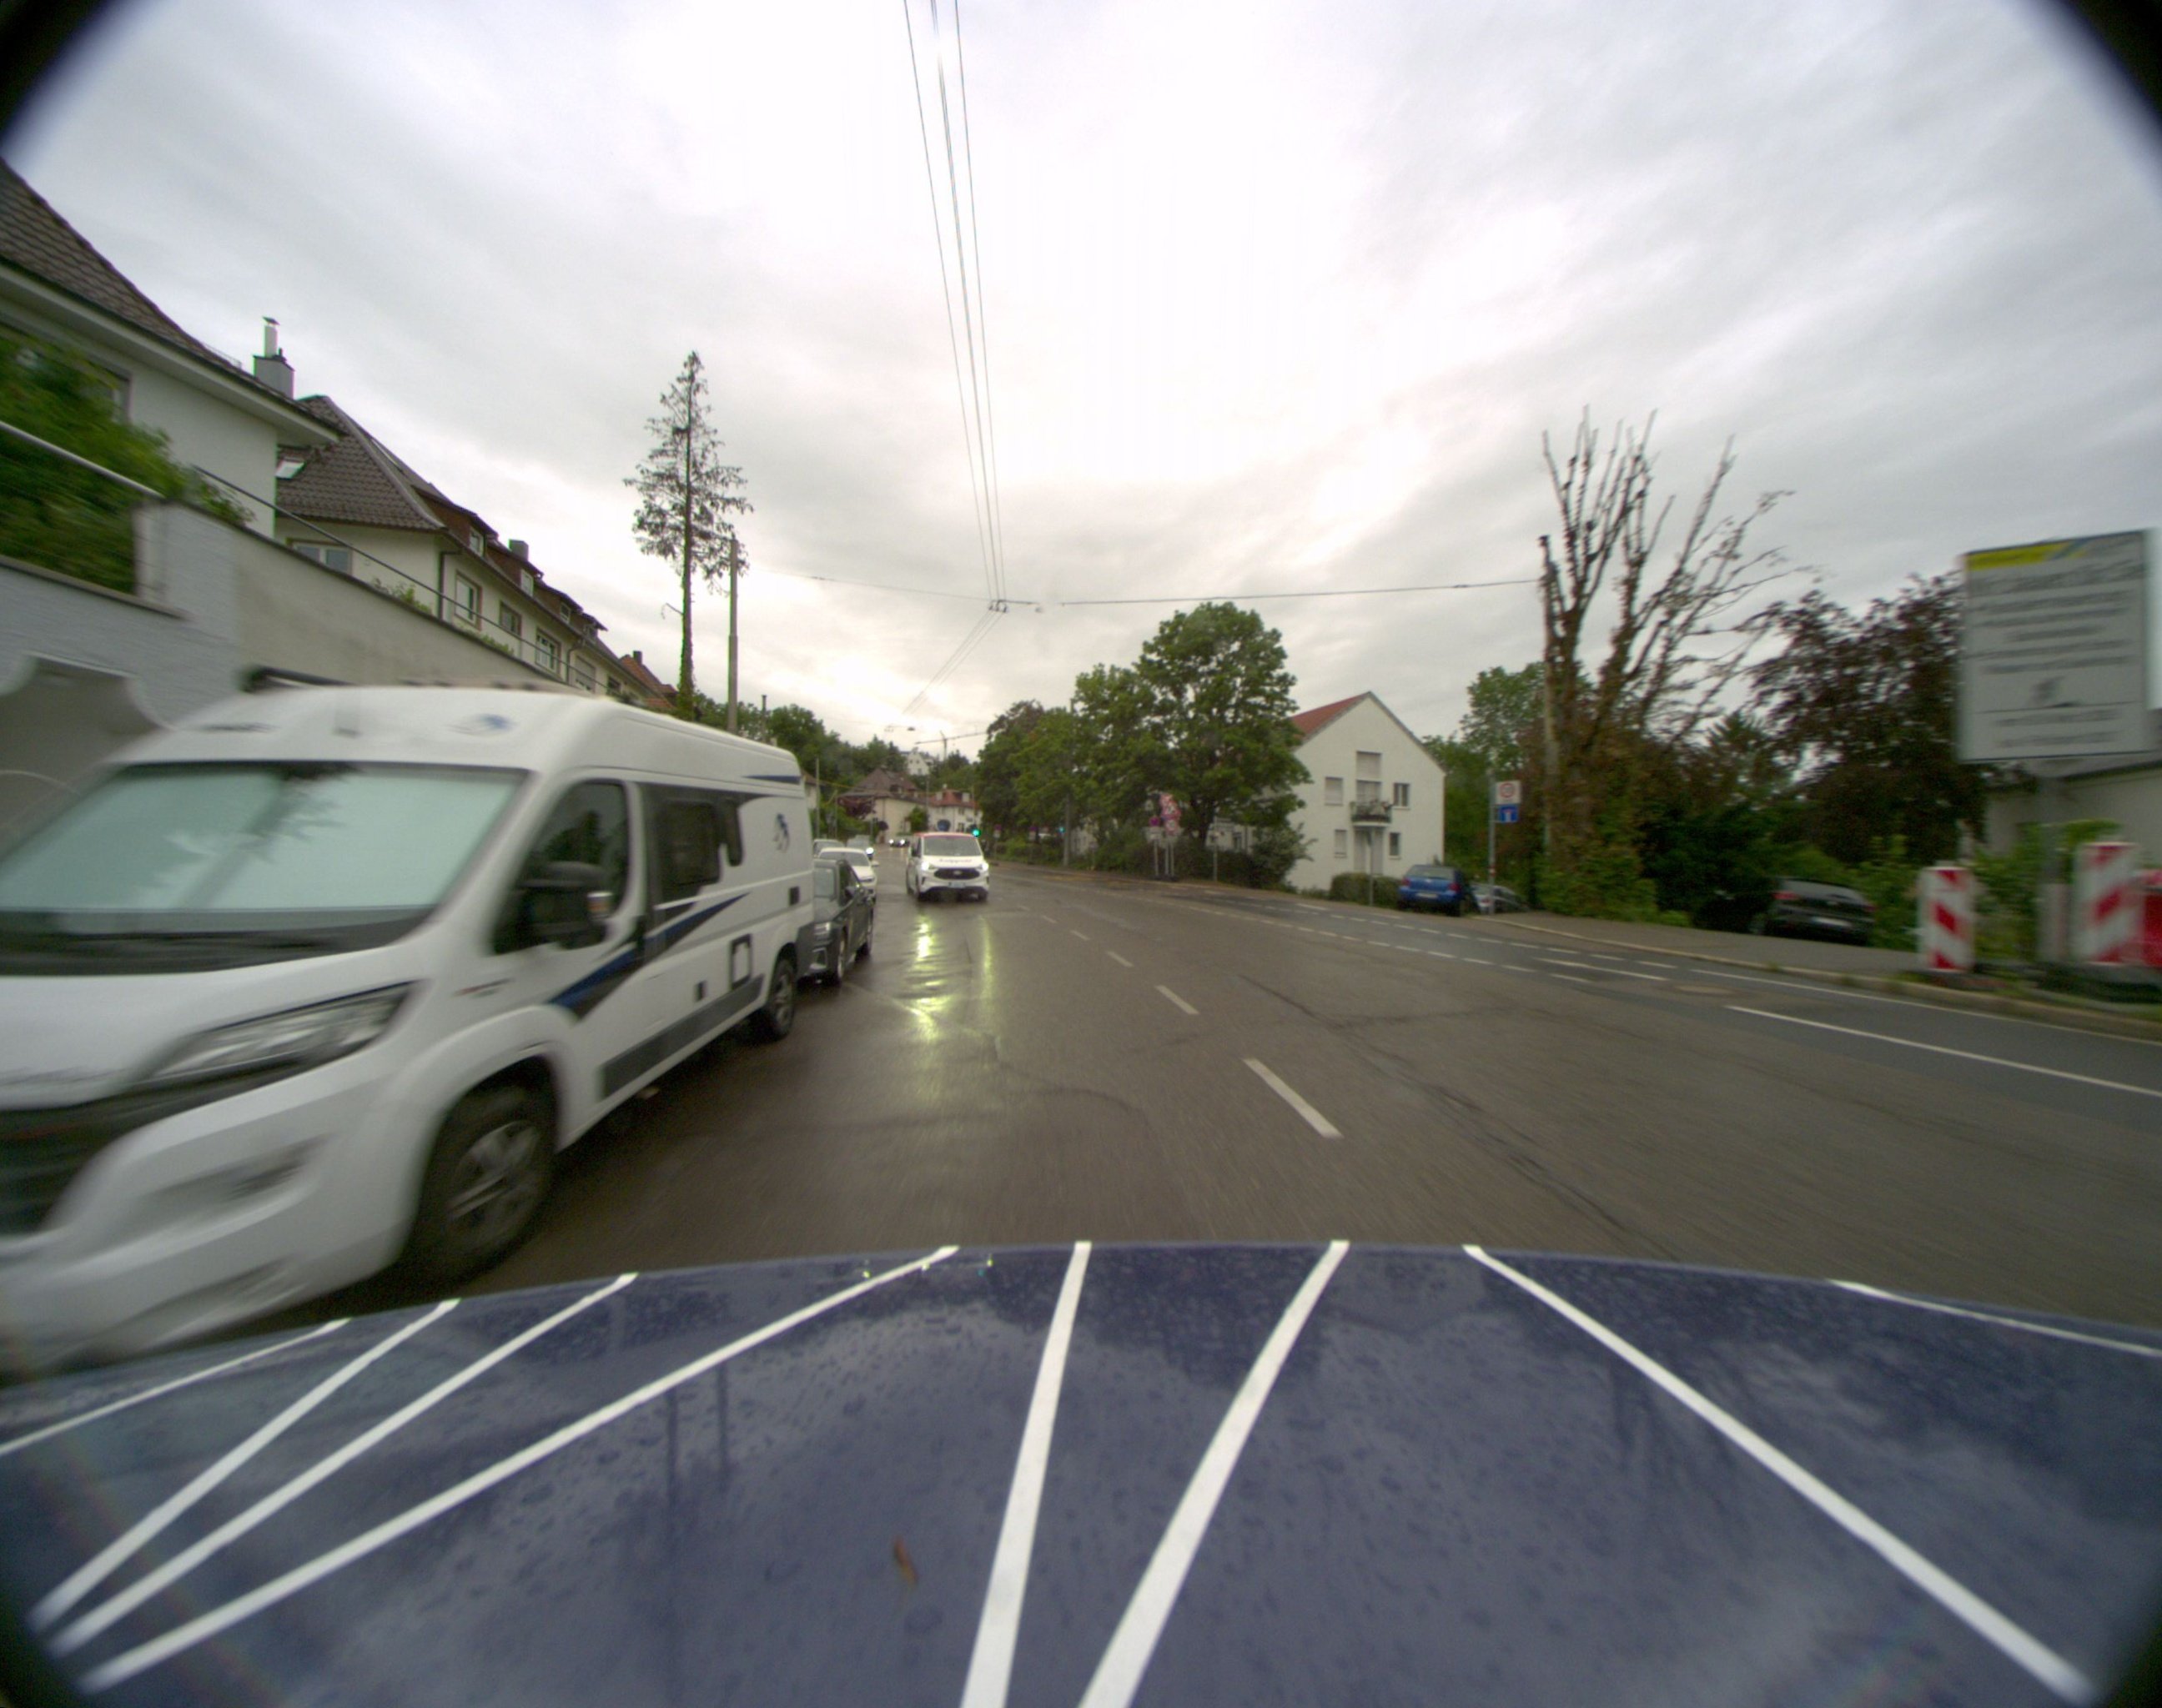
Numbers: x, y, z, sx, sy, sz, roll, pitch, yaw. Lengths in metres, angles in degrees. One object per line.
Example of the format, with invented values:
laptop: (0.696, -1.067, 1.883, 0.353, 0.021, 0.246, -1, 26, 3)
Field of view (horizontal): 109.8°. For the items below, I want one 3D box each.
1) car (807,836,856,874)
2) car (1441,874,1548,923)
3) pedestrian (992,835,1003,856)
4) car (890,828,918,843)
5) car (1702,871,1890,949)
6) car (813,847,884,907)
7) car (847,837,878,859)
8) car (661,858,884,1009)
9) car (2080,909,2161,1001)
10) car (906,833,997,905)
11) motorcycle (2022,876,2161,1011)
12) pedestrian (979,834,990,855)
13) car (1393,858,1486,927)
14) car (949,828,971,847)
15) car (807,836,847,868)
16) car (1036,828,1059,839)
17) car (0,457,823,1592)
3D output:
car: (-11.461, 0.010, 34.747, 1.722, 1.505, 3.990, 1, 2, -24)
car: (14.704, 1.505, 26.973, 4.090, 1.485, 1.836, 1, 2, -39)
pedestrian: (-7.252, -0.769, 65.899, 0.683, 1.806, 1.153, 0, 2, -21)
car: (-22.227, -2.296, 95.679, 1.806, 1.716, 4.580, 3, 2, 9)
car: (15.233, 1.120, 16.451, 1.551, 1.319, 3.568, 3, 1, 18)
car: (-6.545, 0.573, 21.346, 1.712, 1.406, 4.033, 1, 2, -18)
car: (-15.896, -0.494, 55.174, 1.992, 1.428, 4.505, 0, 3, -19)
car: (-3.775, 0.852, 10.082, 1.759, 1.487, 4.180, 1, 1, -8)
car: (21.763, 2.091, 14.173, 1.784, 1.632, 3.946, 3, 3, 18)
car: (-3.978, 0.361, 22.776, 2.045, 1.928, 4.507, 0, 1, -18)
motorcycle: (9.514, 0.786, 6.581, 0.510, 1.133, 1.923, 2, 0, 8)
pedestrian: (-8.295, -0.786, 65.470, 0.710, 1.806, 1.145, 0, 2, -21)
car: (10.647, 1.041, 22.434, 1.836, 1.657, 3.950, 4, 3, 33)
car: (-13.720, -1.896, 86.414, 1.808, 1.917, 4.574, 3, 2, -2)
car: (-13.253, -0.133, 39.499, 1.789, 1.412, 4.420, 2, 2, -21)
car: (-5.654, -3.416, 127.657, 1.806, 1.791, 4.470, 3, 3, 28)
car: (-3.374, 0.320, 4.424, 2.105, 2.528, 5.616, 1, 1, -4)
